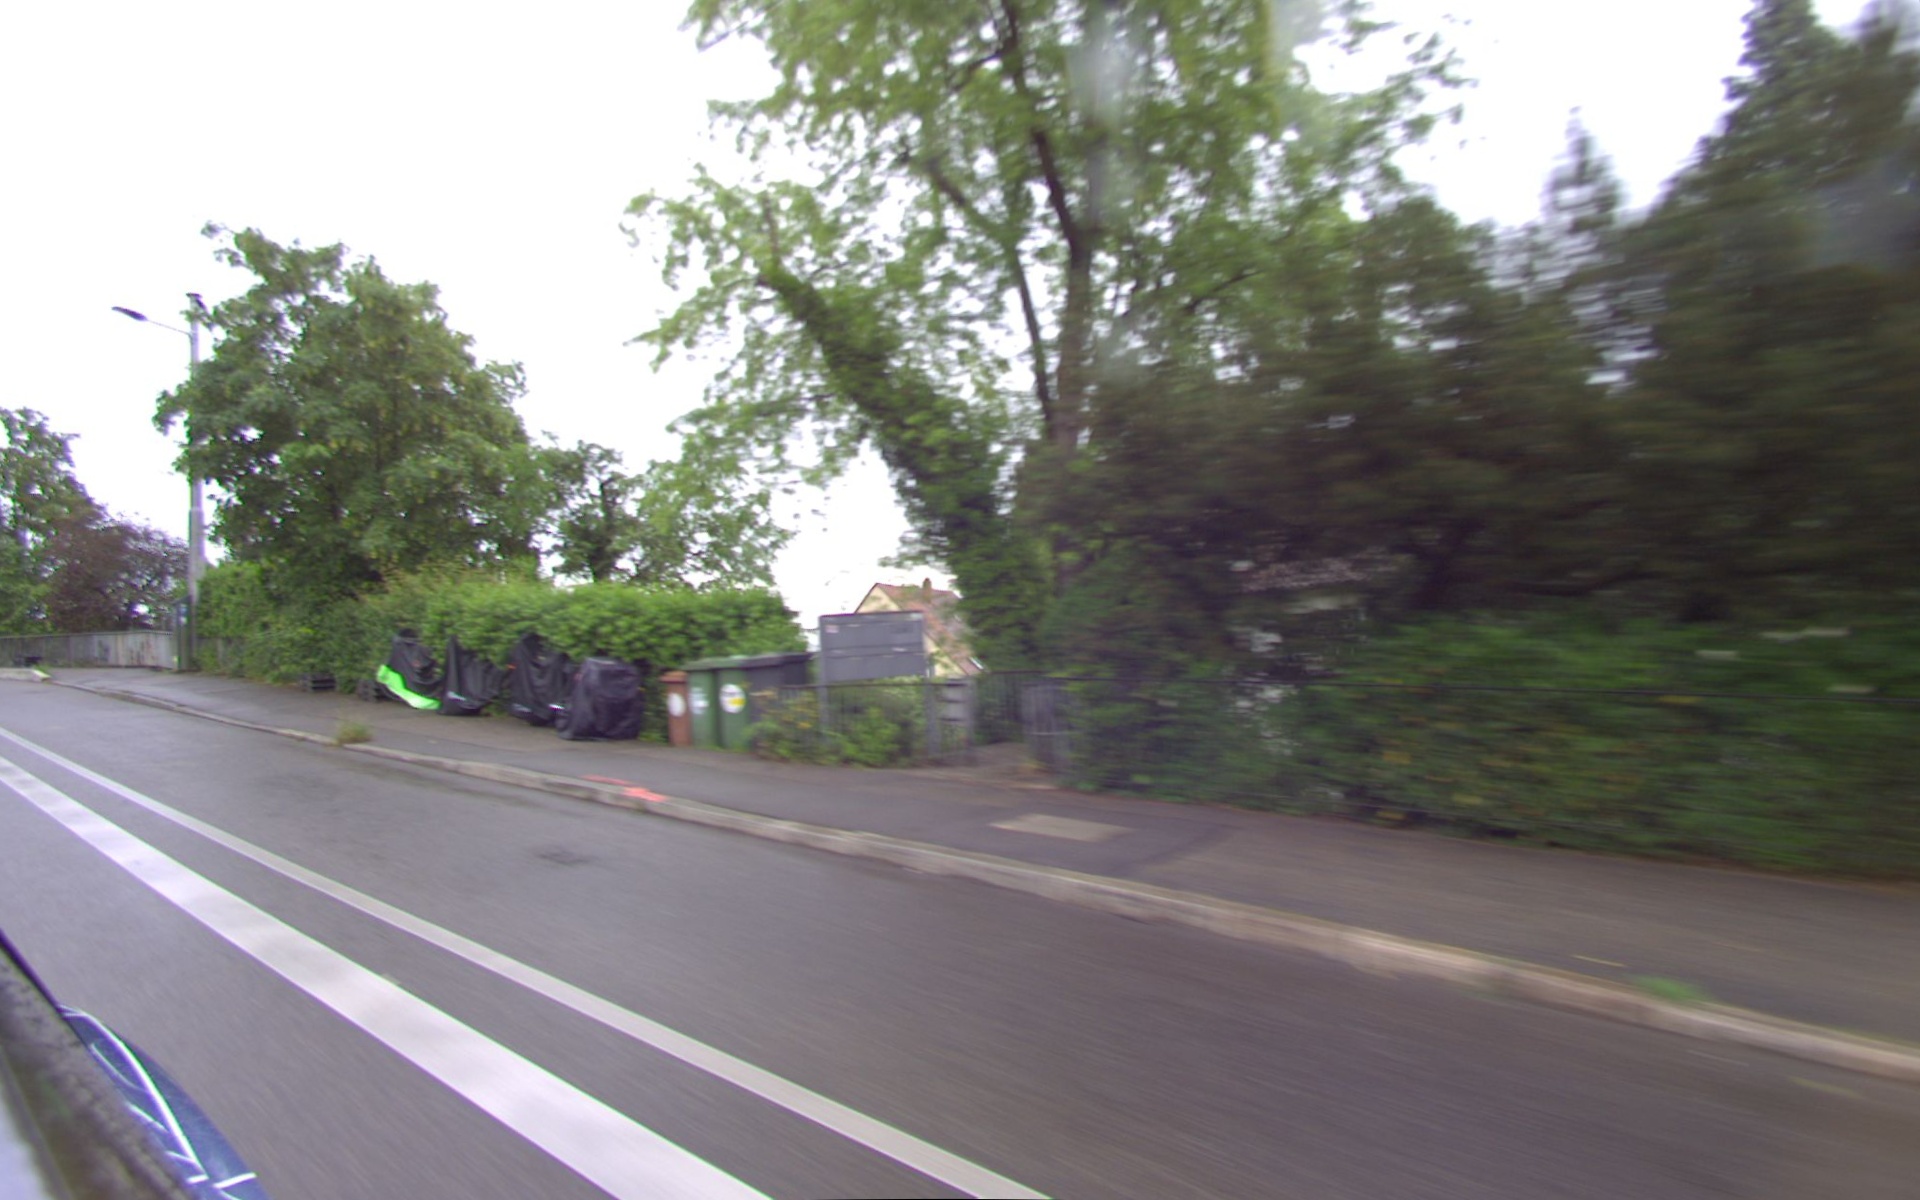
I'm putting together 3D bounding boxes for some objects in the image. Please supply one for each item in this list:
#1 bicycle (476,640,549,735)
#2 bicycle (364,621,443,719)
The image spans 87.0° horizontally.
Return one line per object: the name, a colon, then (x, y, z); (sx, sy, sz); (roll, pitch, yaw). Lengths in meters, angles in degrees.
bicycle: (-5.658, 1.082, 12.774); (1.255, 1.116, 0.334); (-1, -1, 40)
bicycle: (-8.197, 0.990, 14.890); (1.741, 1.359, 0.416); (-1, -1, 40)
